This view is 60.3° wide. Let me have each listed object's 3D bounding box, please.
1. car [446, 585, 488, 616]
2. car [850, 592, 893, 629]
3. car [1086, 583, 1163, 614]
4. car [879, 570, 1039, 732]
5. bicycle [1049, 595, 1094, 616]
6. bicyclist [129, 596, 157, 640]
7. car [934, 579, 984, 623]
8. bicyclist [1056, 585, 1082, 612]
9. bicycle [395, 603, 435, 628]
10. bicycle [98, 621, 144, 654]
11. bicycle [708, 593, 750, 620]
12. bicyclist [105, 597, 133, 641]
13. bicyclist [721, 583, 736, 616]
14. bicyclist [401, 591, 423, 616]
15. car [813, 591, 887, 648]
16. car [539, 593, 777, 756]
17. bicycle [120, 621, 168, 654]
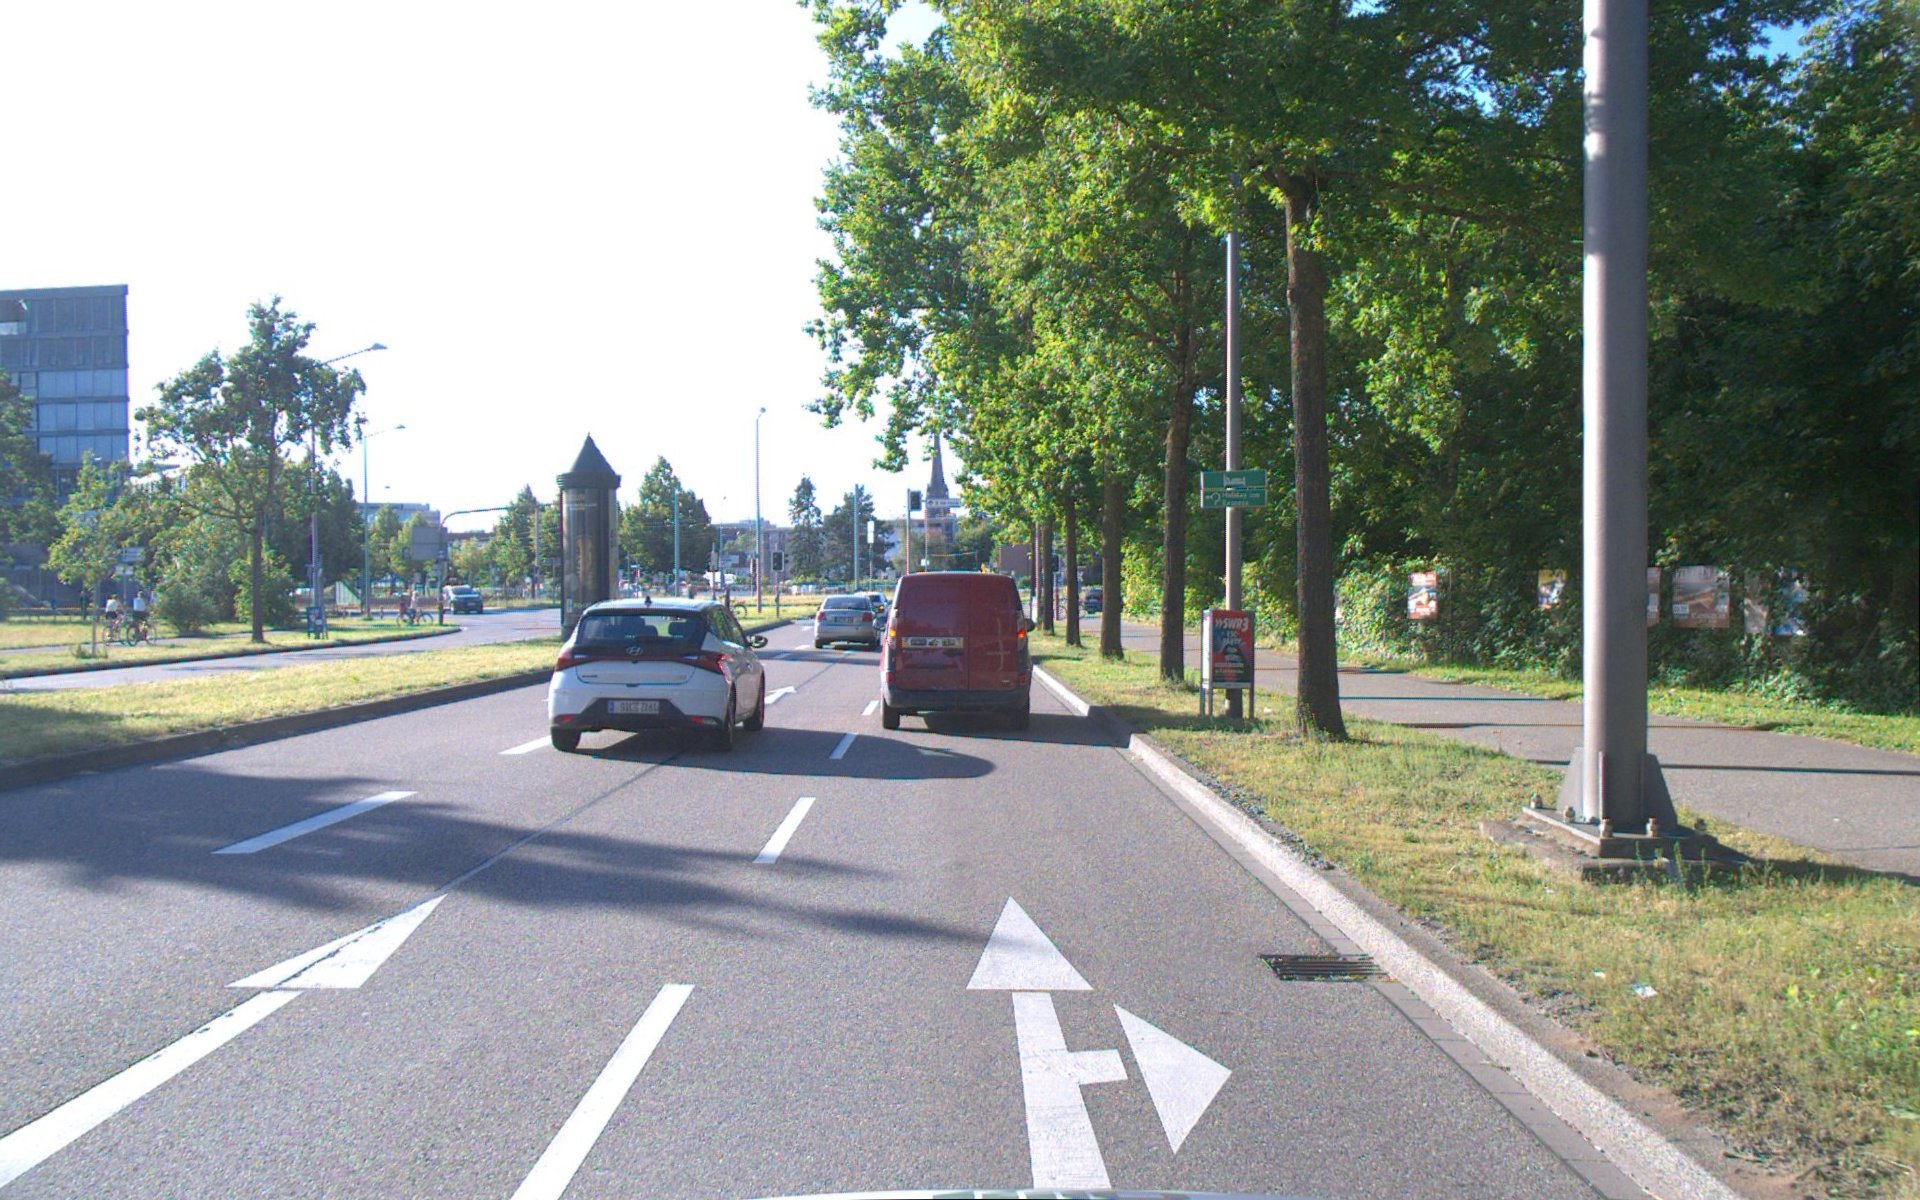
[{"bbox_3d":[-30.750,0.033,103.106,1.617,1.909,3.960,-1,0,-30],"label":"car"},{"bbox_3d":[-3.628,0.420,68.566,1.627,1.422,3.558,-1,1,-1],"label":"car"},{"bbox_3d":[8.812,-0.071,88.390,3.877,1.653,1.757,0,0,-33],"label":"car"},{"bbox_3d":[-0.035,0.540,20.378,1.769,1.790,4.005,0,1,-1],"label":"car"},{"bbox_3d":[5.407,0.270,80.224,2.100,0.975,0.780,-1,0,-33],"label":"bicycle"},{"bbox_3d":[-26.670,0.591,53.998,0.551,1.416,0.747,-1,0,-2],"label":"bicyclist"},{"bbox_3d":[-0.024,0.022,70.536,1.624,1.792,3.501,-1,0,8],"label":"car"},{"bbox_3d":[5.278,-0.087,80.154,0.959,1.271,0.780,-1,0,-33],"label":"bicyclist"},{"bbox_3d":[-25.441,0.715,77.220,1.690,1.126,0.605,-1,0,12],"label":"bicycle"},{"bbox_3d":[-27.715,1.220,54.662,0.477,1.021,2.096,-1,0,-2],"label":"bicycle"},{"bbox_3d":[-10.814,0.300,77.483,1.919,1.186,0.517,-1,0,-2],"label":"bicycle"},{"bbox_3d":[-27.720,0.612,54.511,0.472,1.419,0.844,-1,0,-2],"label":"bicyclist"},{"bbox_3d":[-10.838,-0.024,77.480,0.591,1.494,0.517,-1,0,-2],"label":"bicyclist"},{"bbox_3d":[-25.598,0.165,77.254,0.719,1.126,0.605,-1,0,12],"label":"bicyclist"},{"bbox_3d":[-3.078,0.522,46.953,1.803,1.482,4.162,1,1,0],"label":"car"},{"bbox_3d":[-2.998,0.677,17.242,1.742,1.433,4.075,0,1,0],"label":"car"},{"bbox_3d":[-26.660,1.207,54.053,0.558,1.021,2.096,-1,0,-2],"label":"bicycle"}]
